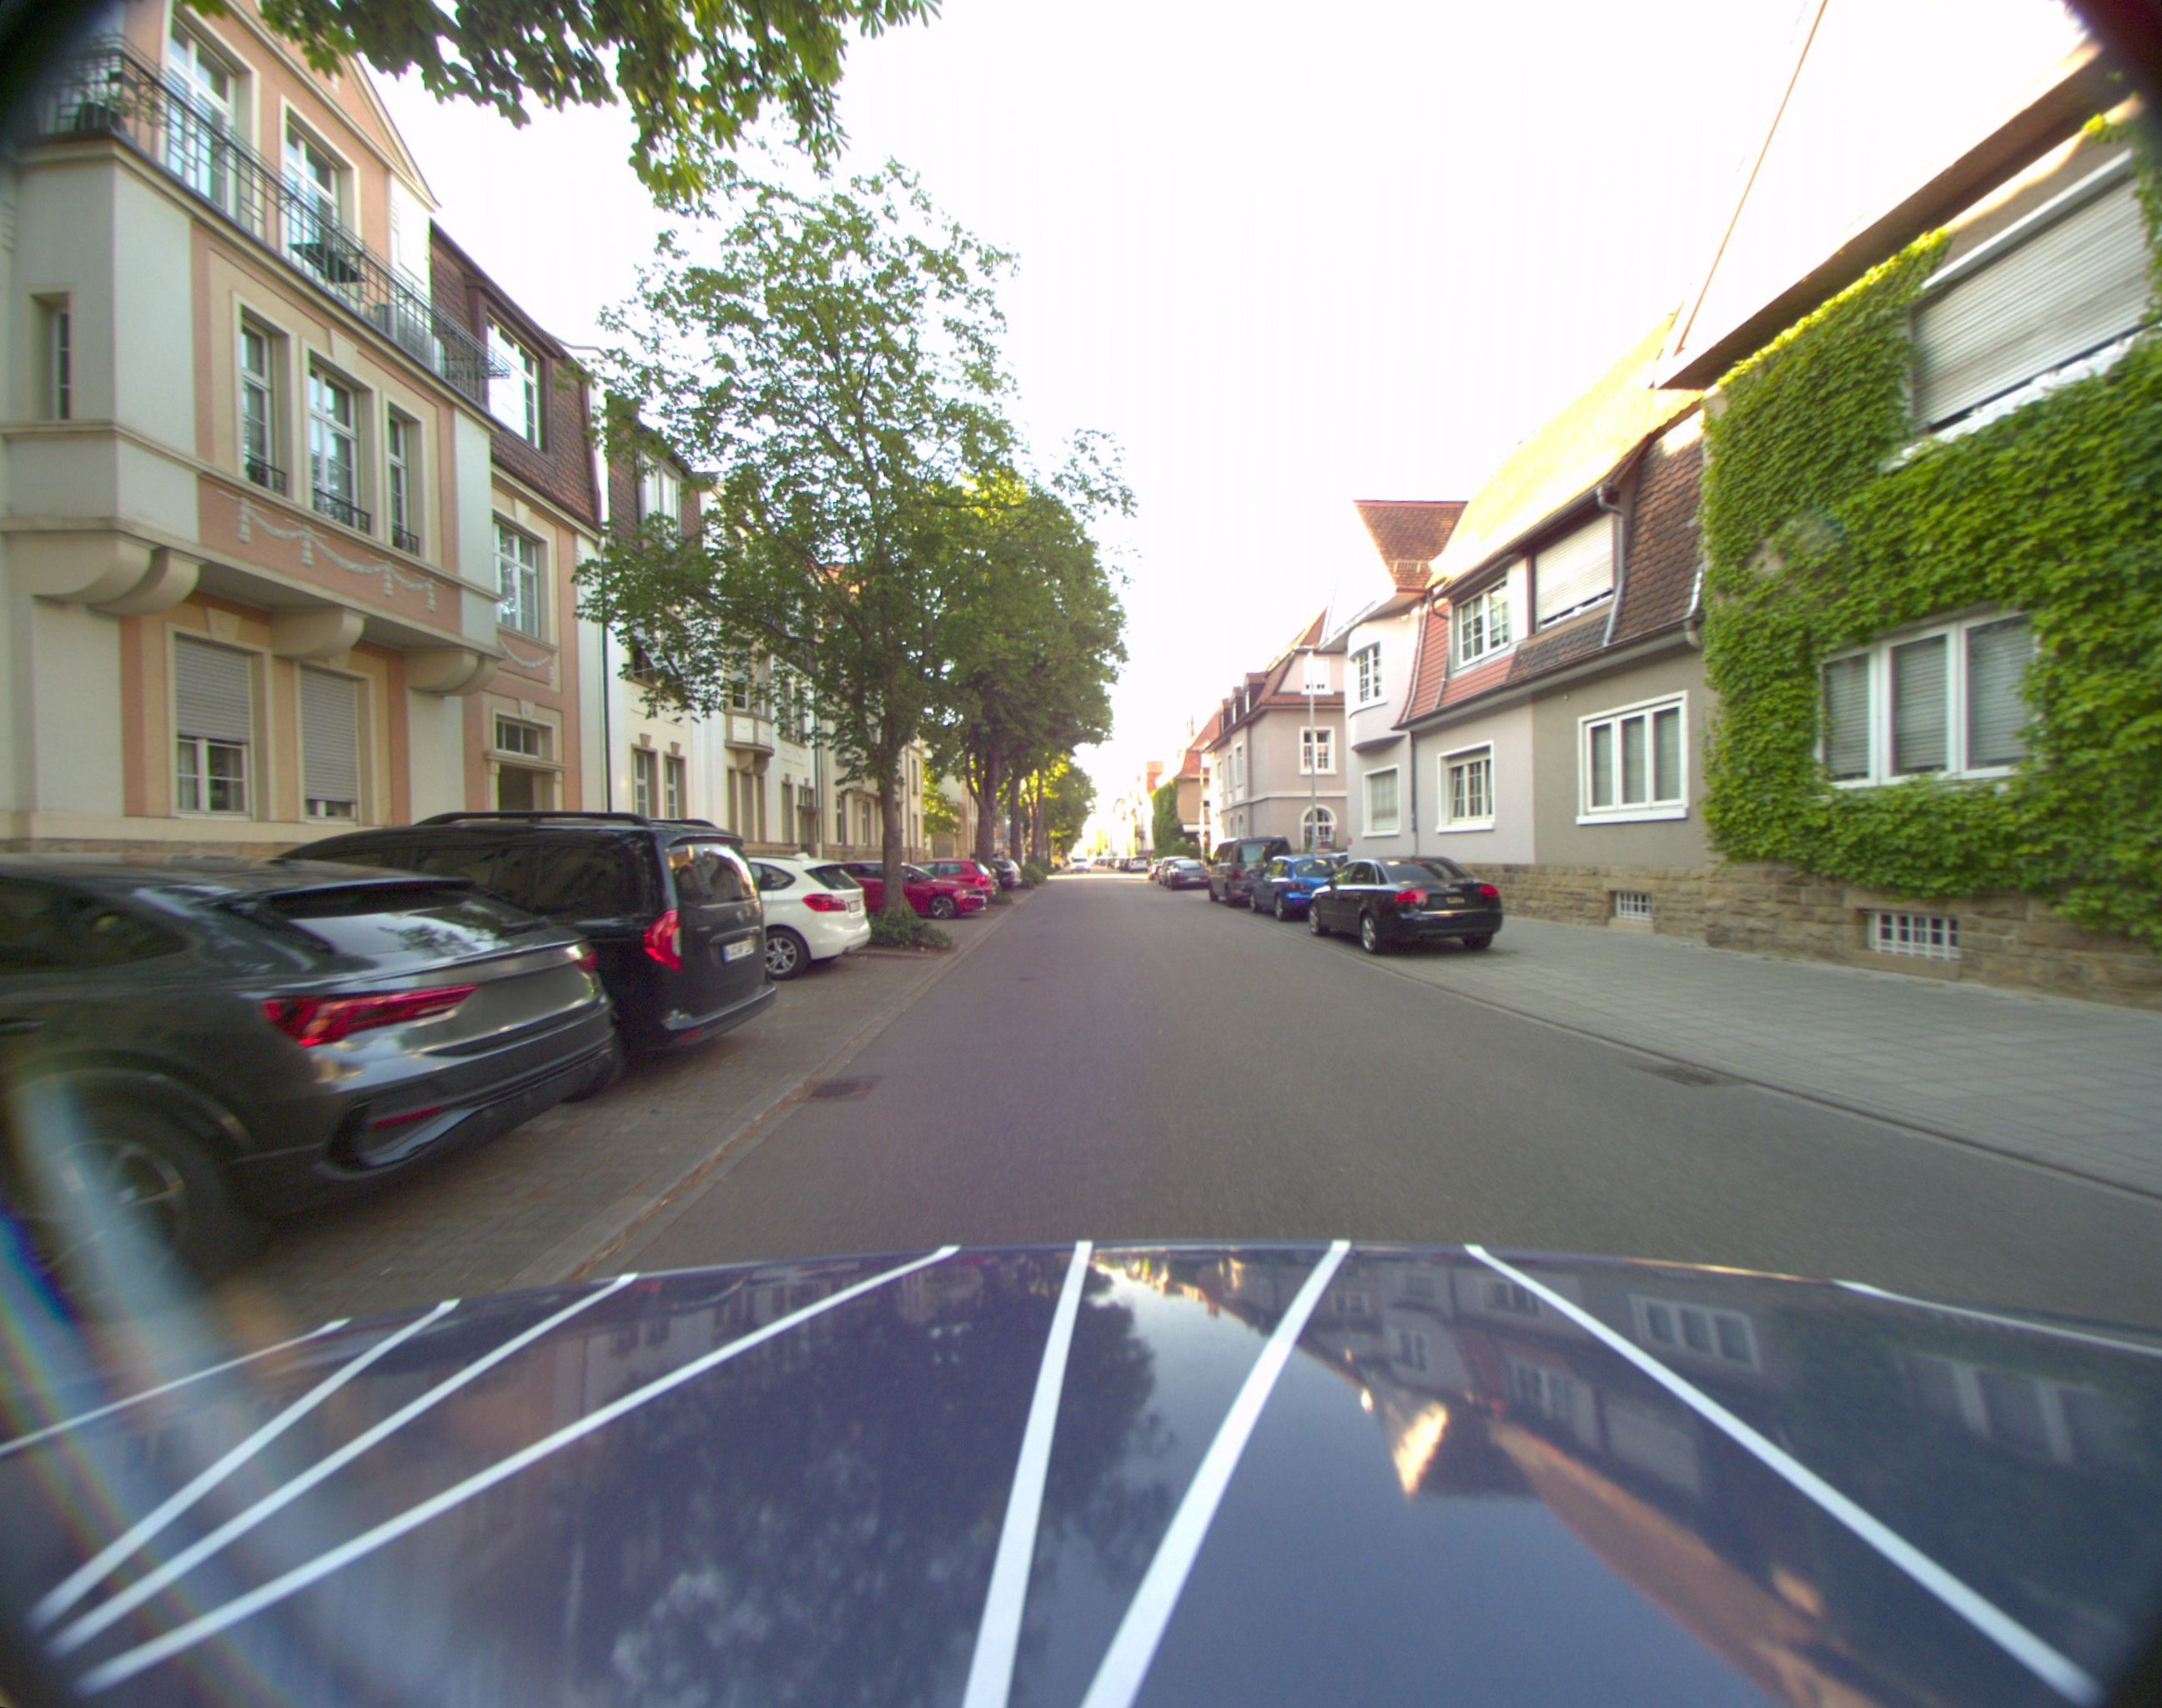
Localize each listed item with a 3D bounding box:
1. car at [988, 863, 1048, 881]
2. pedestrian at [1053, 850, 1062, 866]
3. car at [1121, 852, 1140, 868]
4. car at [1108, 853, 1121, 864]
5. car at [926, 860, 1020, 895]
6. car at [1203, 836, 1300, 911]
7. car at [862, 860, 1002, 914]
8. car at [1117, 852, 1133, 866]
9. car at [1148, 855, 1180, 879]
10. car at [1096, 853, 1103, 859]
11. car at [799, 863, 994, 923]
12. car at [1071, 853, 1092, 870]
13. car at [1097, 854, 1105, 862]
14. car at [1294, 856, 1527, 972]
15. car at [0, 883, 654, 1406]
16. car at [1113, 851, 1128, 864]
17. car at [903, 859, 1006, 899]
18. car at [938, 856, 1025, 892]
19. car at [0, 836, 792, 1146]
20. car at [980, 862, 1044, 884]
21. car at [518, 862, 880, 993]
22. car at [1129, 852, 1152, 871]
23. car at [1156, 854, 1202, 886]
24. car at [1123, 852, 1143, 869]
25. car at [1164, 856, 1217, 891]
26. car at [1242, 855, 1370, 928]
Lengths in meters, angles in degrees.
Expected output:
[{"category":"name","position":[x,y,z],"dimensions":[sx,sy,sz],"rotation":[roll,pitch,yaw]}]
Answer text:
[{"category":"car","position":[-3.748,1.060,45.284],"dimensions":[3.399,1.057,1.542],"rotation":[0,0,2]},{"category":"pedestrian","position":[-2.961,0.530,95.905],"dimensions":[1.119,1.926,1.097],"rotation":[-3,0,-1]},{"category":"car","position":[5.053,0.607,78.451],"dimensions":[1.699,1.520,3.677],"rotation":[-3,0,1]},{"category":"car","position":[5.006,0.634,113.552],"dimensions":[1.699,1.520,3.677],"rotation":[-3,0,1]},{"category":"car","position":[-4.487,0.963,31.915],"dimensions":[3.680,1.390,1.576],"rotation":[0,0,2]},{"category":"car","position":[5.015,0.529,23.037],"dimensions":[1.842,1.963,4.612],"rotation":[-3,0,0]},{"category":"car","position":[-4.265,0.933,22.104],"dimensions":[3.680,1.473,1.659],"rotation":[0,1,3]},{"category":"car","position":[5.108,0.570,88.699],"dimensions":[1.699,1.520,3.677],"rotation":[-3,0,1]},{"category":"car","position":[5.195,0.815,48.068],"dimensions":[1.662,1.354,3.677],"rotation":[-3,0,1]},{"category":"car","position":[4.775,0.524,200.434],"dimensions":[1.699,1.520,3.677],"rotation":[-3,0,1]},{"category":"car","position":[-4.648,0.965,19.575],"dimensions":[4.530,1.443,1.868],"rotation":[0,0,3]},{"category":"car","position":[0.083,0.709,72.162],"dimensions":[1.819,1.454,4.073],"rotation":[-2,0,1]},{"category":"car","position":[4.481,0.902,170.980],"dimensions":[1.699,1.520,3.677],"rotation":[-3,0,1]},{"category":"car","position":[5.001,0.804,12.312],"dimensions":[1.806,1.438,4.428],"rotation":[-3,0,0]},{"category":"car","position":[-4.578,0.927,3.142],"dimensions":[4.522,1.514,1.844],"rotation":[0,0,-4]},{"category":"car","position":[5.071,0.436,98.426],"dimensions":[1.699,1.520,3.677],"rotation":[-3,0,1]},{"category":"car","position":[-4.837,0.942,29.346],"dimensions":[3.680,1.457,1.576],"rotation":[0,1,2]},{"category":"car","position":[-4.464,0.889,34.478],"dimensions":[3.680,1.548,1.576],"rotation":[0,1,2]},{"category":"car","position":[-4.502,0.809,5.468],"dimensions":[4.121,1.827,1.844],"rotation":[0,1,-2]},{"category":"car","position":[-3.782,1.046,42.078],"dimensions":[3.399,1.143,1.542],"rotation":[0,0,2]},{"category":"car","position":[-4.902,0.911,10.166],"dimensions":[3.950,1.568,1.719],"rotation":[0,1,0]},{"category":"car","position":[5.096,0.612,65.693],"dimensions":[1.699,1.558,3.677],"rotation":[-3,0,1]},{"category":"car","position":[5.076,0.793,39.827],"dimensions":[1.932,1.458,4.062],"rotation":[-3,0,1]},{"category":"car","position":[4.977,0.628,72.958],"dimensions":[1.699,1.520,3.677],"rotation":[-3,0,1]},{"category":"car","position":[4.879,0.846,34.349],"dimensions":[1.932,1.376,4.063],"rotation":[-3,0,3]},{"category":"car","position":[5.173,0.786,18.025],"dimensions":[1.768,1.438,4.062],"rotation":[-3,0,0]}]
